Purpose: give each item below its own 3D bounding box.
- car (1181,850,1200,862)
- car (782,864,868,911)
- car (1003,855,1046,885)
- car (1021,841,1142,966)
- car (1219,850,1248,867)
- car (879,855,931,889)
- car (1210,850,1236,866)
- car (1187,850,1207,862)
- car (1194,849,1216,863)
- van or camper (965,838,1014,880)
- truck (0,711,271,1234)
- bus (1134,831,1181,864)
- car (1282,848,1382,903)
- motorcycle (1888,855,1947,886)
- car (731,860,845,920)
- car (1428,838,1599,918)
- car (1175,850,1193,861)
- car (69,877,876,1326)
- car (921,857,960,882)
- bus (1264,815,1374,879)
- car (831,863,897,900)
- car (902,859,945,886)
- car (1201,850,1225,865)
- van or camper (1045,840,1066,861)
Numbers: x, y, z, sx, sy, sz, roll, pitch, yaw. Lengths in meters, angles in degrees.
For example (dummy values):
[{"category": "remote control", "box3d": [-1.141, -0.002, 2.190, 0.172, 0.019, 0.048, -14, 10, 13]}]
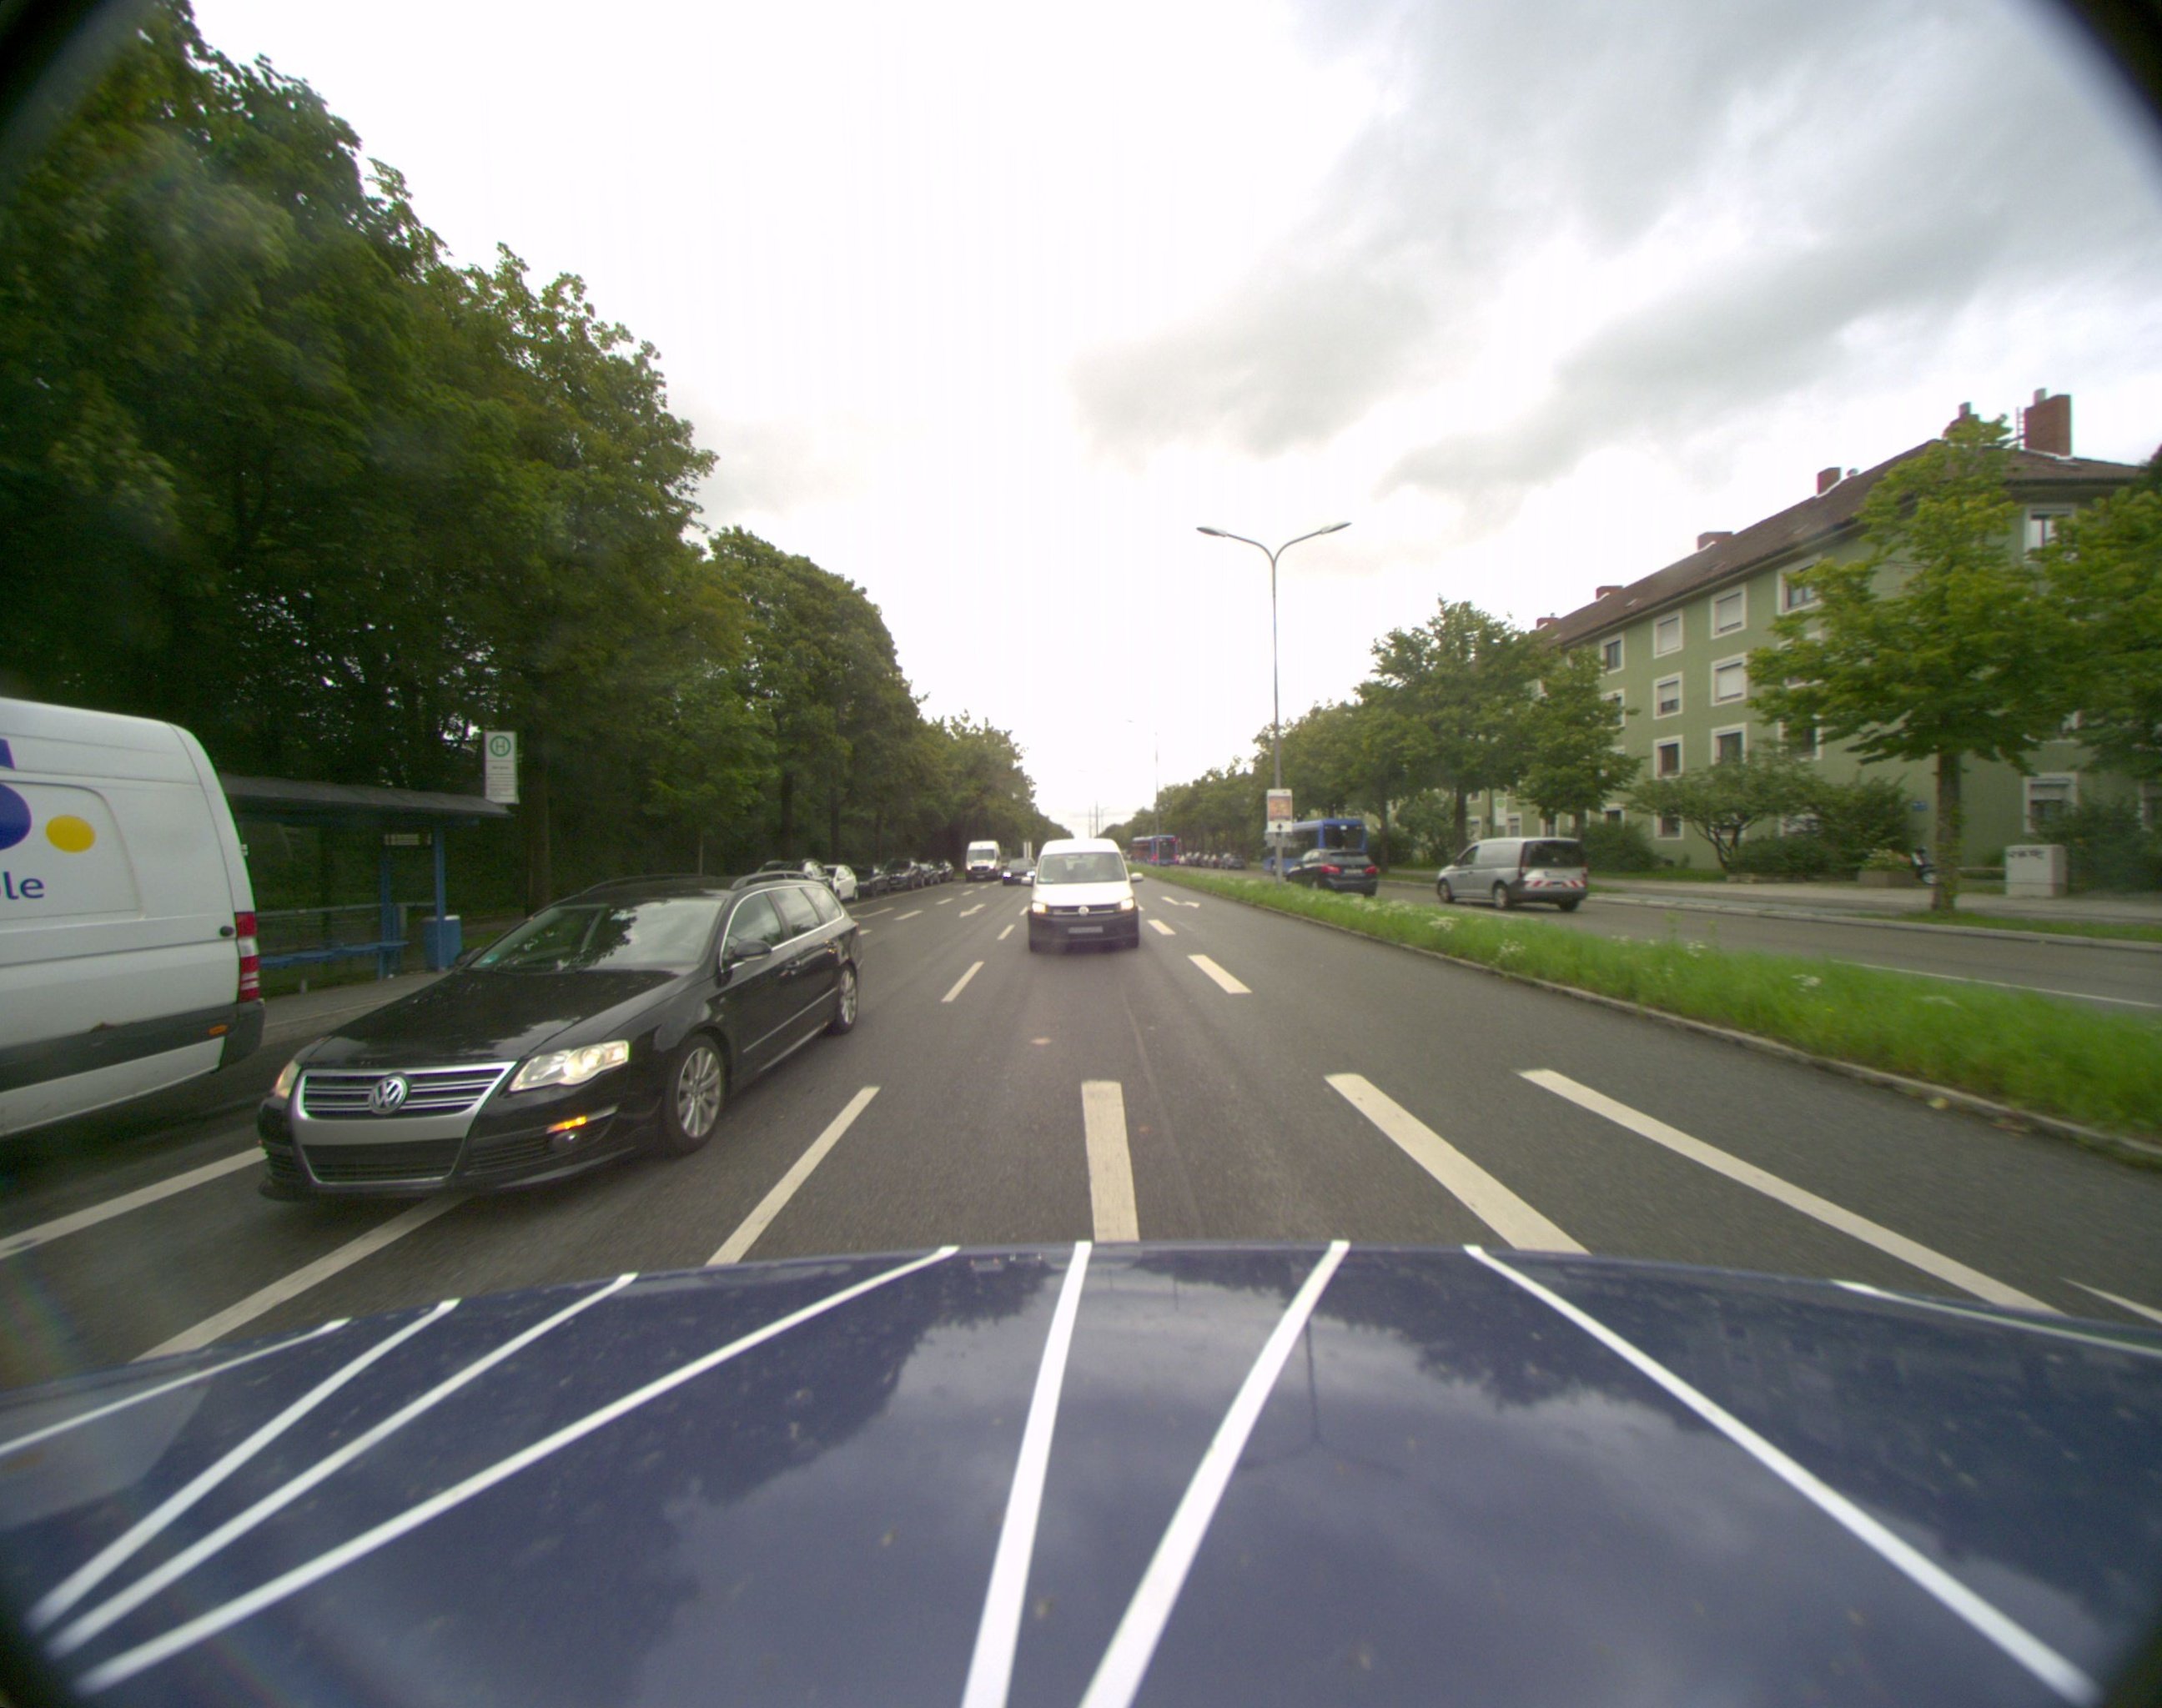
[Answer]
[{"category": "car", "box3d": [13.957, 0.205, 97.329, 1.857, 1.454, 3.910, -2, 0, 1]}, {"category": "car", "box3d": [-9.549, 1.187, 28.718, 1.752, 1.515, 4.396, -1, 0, -1]}, {"category": "car", "box3d": [-3.047, 0.838, 42.065, 1.819, 1.421, 4.671, -4, 0, 1]}, {"category": "car", "box3d": [-0.014, 0.720, 13.567, 1.752, 1.809, 4.670, -1, 0, -1]}, {"category": "car", "box3d": [14.079, 0.424, 70.366, 1.857, 1.454, 3.910, -2, 0, 1]}, {"category": "car", "box3d": [-9.257, 0.924, 40.267, 1.752, 1.640, 4.254, -1, 0, -1]}, {"category": "car", "box3d": [13.975, 0.406, 75.099, 1.857, 1.454, 3.910, -2, 0, 1]}, {"category": "car", "box3d": [14.068, 0.226, 92.128, 1.857, 1.454, 3.910, -2, 0, 1]}, {"category": "car", "box3d": [14.052, 0.256, 86.063, 1.857, 1.454, 3.910, -2, 0, 1]}, {"category": "van or camper", "box3d": [-5.975, 0.300, 50.337, 2.183, 2.546, 7.074, -1, 0, 1]}, {"category": "truck", "box3d": [-6.340, 0.626, 1.351, 1.999, 2.588, 7.226, -2, 0, 0]}, {"category": "bus", "box3d": [8.162, -0.698, 83.160, 2.754, 3.324, 12.266, 0, 0, -6]}, {"category": "car", "box3d": [7.863, 0.616, 24.227, 1.702, 1.561, 4.290, -1, 0, -1]}, {"category": "motorcycle", "box3d": [25.342, 0.487, 23.044, 0.434, 0.877, 1.234, -1, 1, -1]}, {"category": "car", "box3d": [-9.112, 1.047, 24.050, 1.884, 1.640, 4.396, -1, 0, -1]}, {"category": "car", "box3d": [10.986, 0.533, 19.727, 1.784, 1.801, 4.429, 2, 0, -1]}, {"category": "car", "box3d": [13.943, 0.178, 103.009, 1.857, 1.454, 3.910, -2, 0, 1]}, {"category": "car", "box3d": [-2.919, 1.011, 5.211, 1.752, 1.466, 4.670, -2, 0, -1]}, {"category": "car", "box3d": [-9.260, 0.986, 50.350, 1.752, 1.458, 4.254, -1, 0, -1]}, {"category": "bus", "box3d": [13.894, -0.419, 45.829, 2.752, 3.324, 12.047, 0, 0, -1]}, {"category": "car", "box3d": [-9.682, 1.184, 34.255, 1.752, 1.420, 4.254, -1, 0, -1]}, {"category": "car", "box3d": [-9.356, 1.068, 45.501, 1.752, 1.458, 4.038, -1, 0, -1]}, {"category": "car", "box3d": [14.023, 0.375, 80.988, 1.857, 1.454, 3.910, -2, 0, 1]}, {"category": "van or camper", "box3d": [-3.948, -0.525, 119.240, 2.780, 3.219, 7.074, -1, 0, 1]}]
